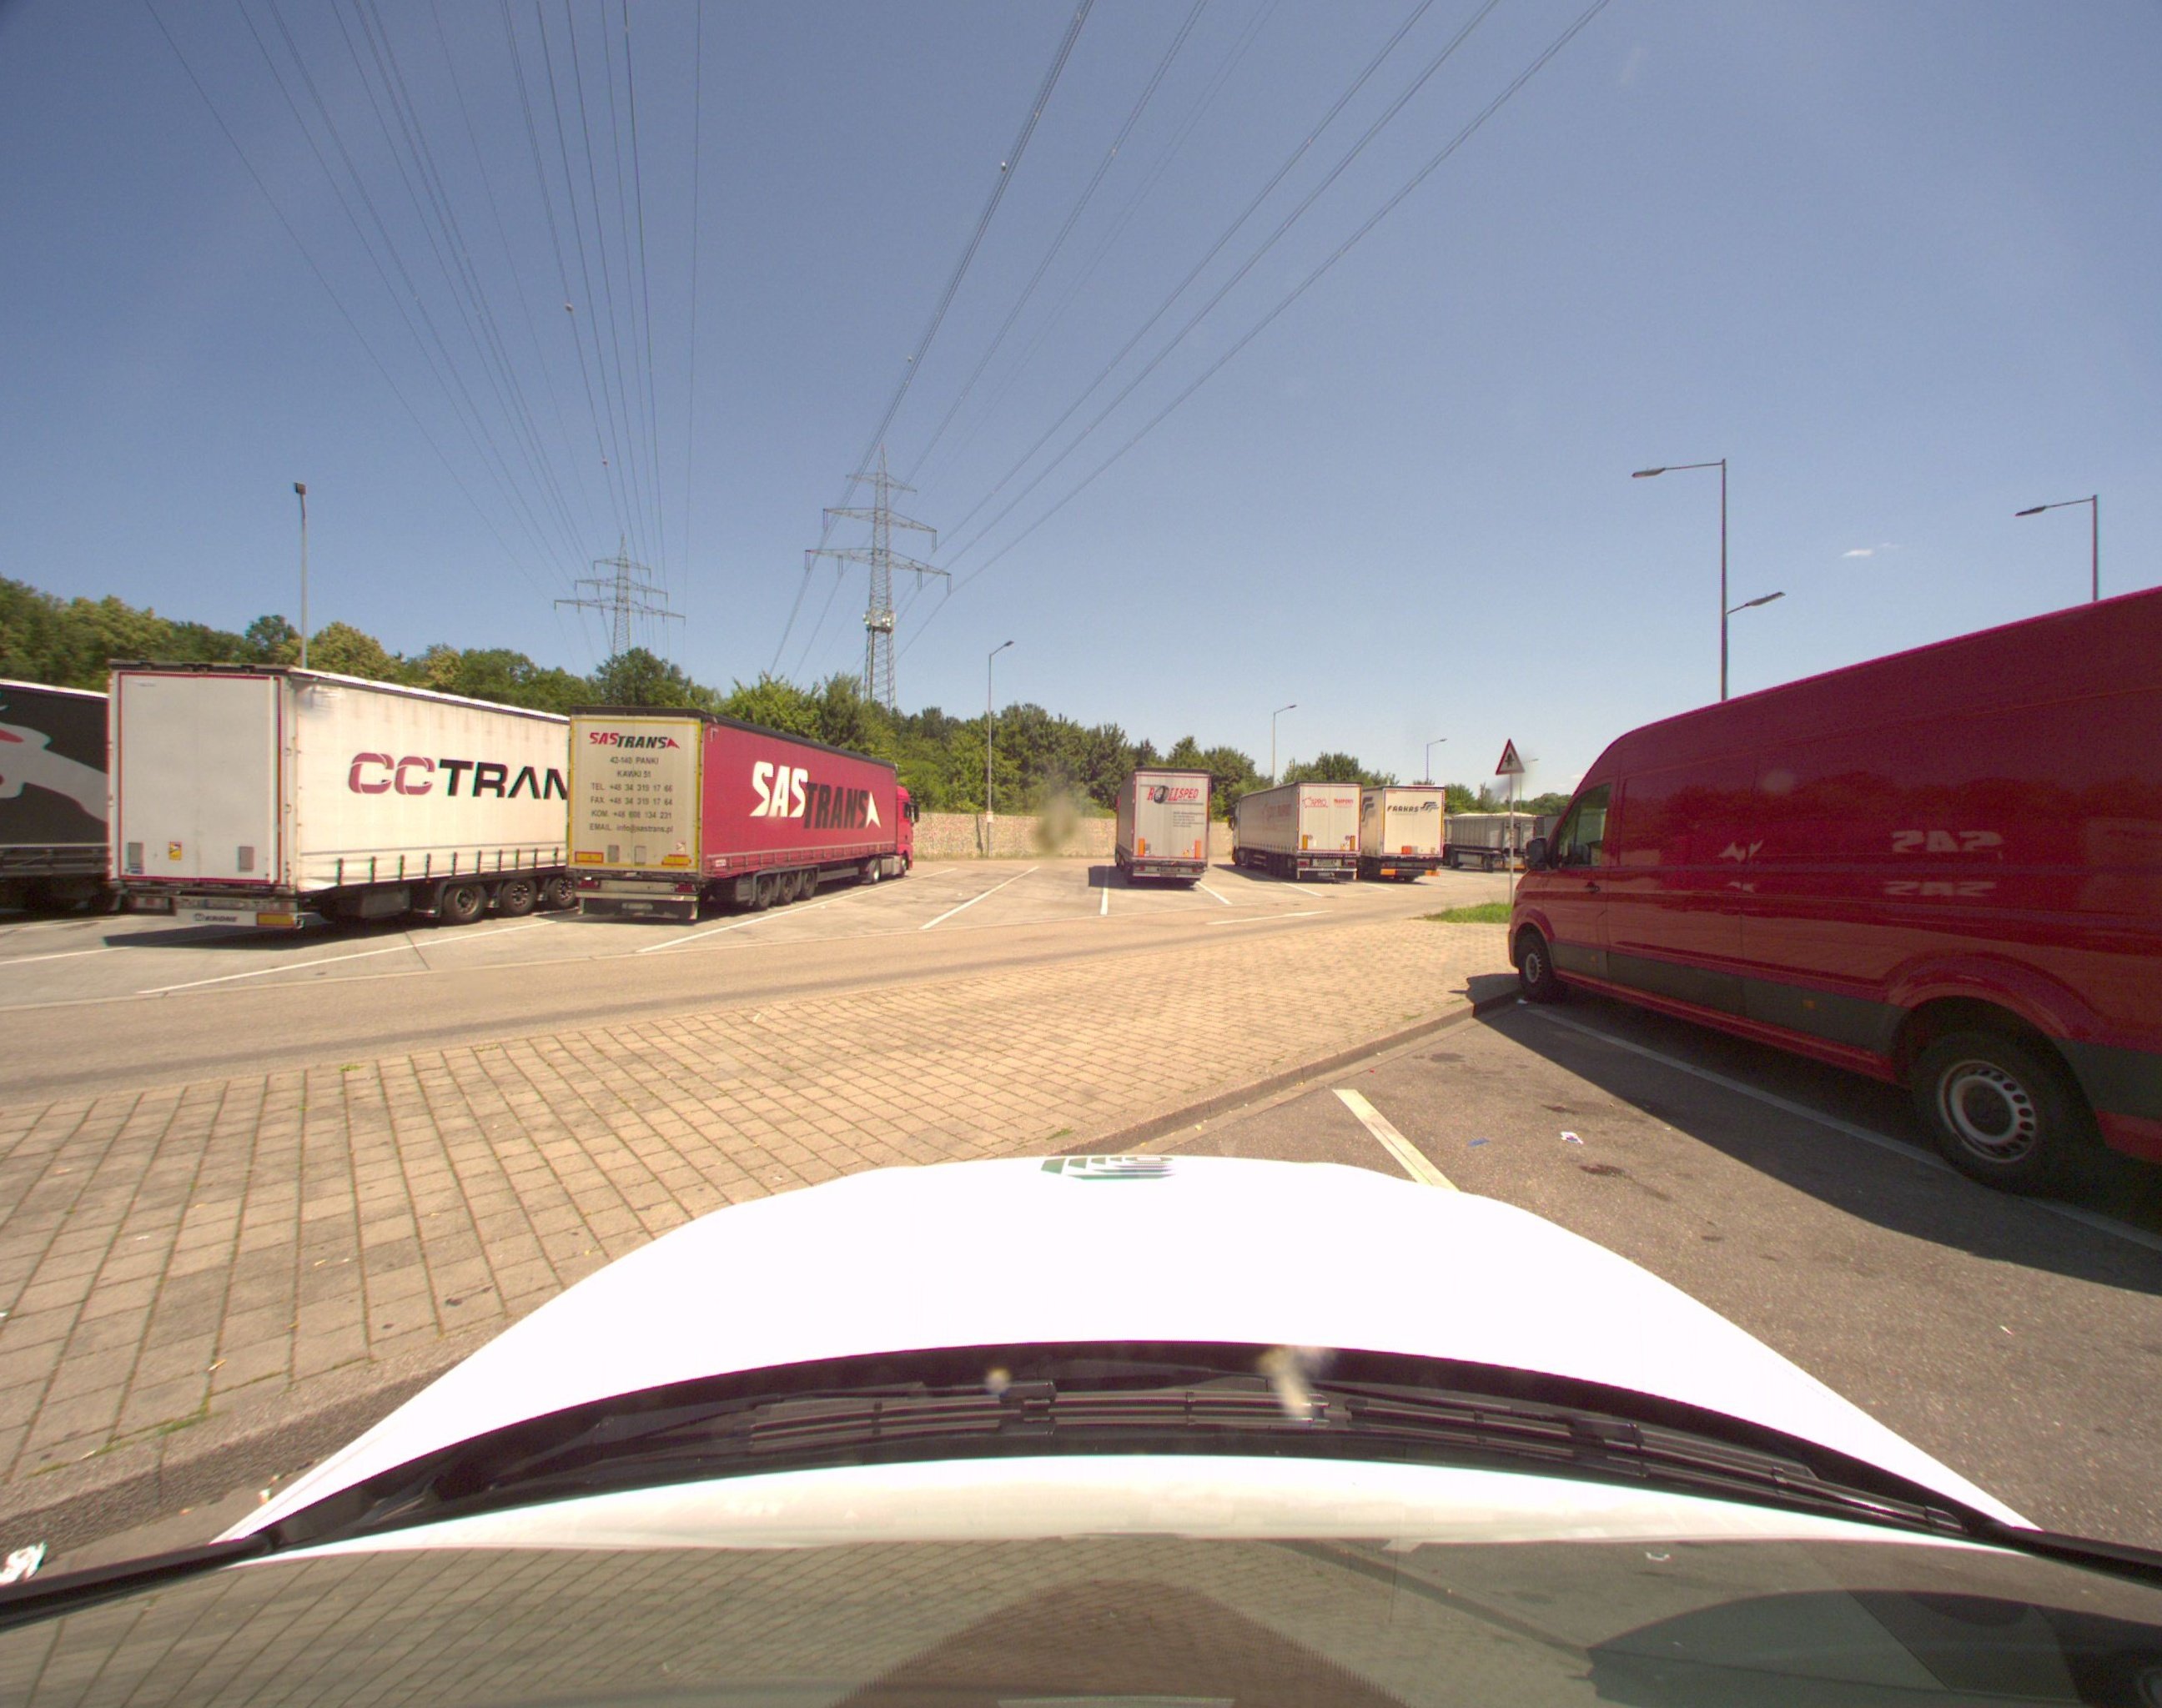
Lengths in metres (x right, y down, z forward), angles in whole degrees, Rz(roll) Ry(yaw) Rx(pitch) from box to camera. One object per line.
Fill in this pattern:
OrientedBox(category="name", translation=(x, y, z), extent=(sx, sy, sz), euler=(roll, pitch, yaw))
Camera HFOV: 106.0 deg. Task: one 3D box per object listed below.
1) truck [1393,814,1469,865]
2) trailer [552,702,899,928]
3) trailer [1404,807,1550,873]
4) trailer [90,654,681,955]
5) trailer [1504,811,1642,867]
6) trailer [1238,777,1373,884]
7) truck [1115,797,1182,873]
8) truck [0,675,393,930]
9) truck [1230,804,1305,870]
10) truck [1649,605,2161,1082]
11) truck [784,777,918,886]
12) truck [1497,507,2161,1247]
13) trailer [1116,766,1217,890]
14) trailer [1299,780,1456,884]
OrientedBox(category="truck", translation=(24.628, -1.081, 57.619), extent=(2.855, 3.362, 5.977), euler=(1, 2, 2))
OrientedBox(category="trailer", translation=(-8.039, -0.927, 21.744), extent=(2.811, 4.070, 13.770), euler=(1, 2, 2))
OrientedBox(category="trailer", translation=(24.443, -0.993, 51.522), extent=(2.847, 3.599, 13.770), euler=(1, 2, 2))
OrientedBox(category="trailer", translation=(-12.152, -0.841, 16.439), extent=(2.696, 4.101, 10.395), euler=(1, 2, 2))
OrientedBox(category="trailer", translation=(38.221, -1.294, 64.206), extent=(2.847, 3.904, 13.770), euler=(1, 2, 2))
OrientedBox(category="trailer", translation=(9.985, -1.119, 38.320), extent=(2.847, 4.109, 13.770), euler=(1, 2, 2))
OrientedBox(category="truck", translation=(3.144, -0.939, 39.430), extent=(2.855, 3.362, 5.977), euler=(1, 2, 2))
OrientedBox(category="truck", translation=(-18.541, -0.939, 15.845), extent=(2.696, 4.070, 8.694), euler=(1, 2, 2))
OrientedBox(category="truck", translation=(10.182, -0.977, 45.084), extent=(2.855, 3.362, 5.977), euler=(1, 2, 2))
OrientedBox(category="truck", translation=(8.012, -0.071, 6.906), extent=(2.406, 2.906, 6.466), euler=(-1, 0, 6))
OrientedBox(category="truck", translation=(-7.826, -0.794, 28.561), extent=(2.801, 3.362, 5.977), euler=(1, 2, 2))
OrientedBox(category="truck", translation=(5.153, 0.080, 5.472), extent=(2.001, 2.651, 6.466), euler=(-1, 0, 6))
OrientedBox(category="trailer", translation=(3.054, -1.048, 33.228), extent=(2.848, 3.971, 13.767), euler=(1, 2, 1))
OrientedBox(category="trailer", translation=(13.613, -1.094, 39.245), extent=(2.847, 4.109, 13.770), euler=(1, 2, 2))
